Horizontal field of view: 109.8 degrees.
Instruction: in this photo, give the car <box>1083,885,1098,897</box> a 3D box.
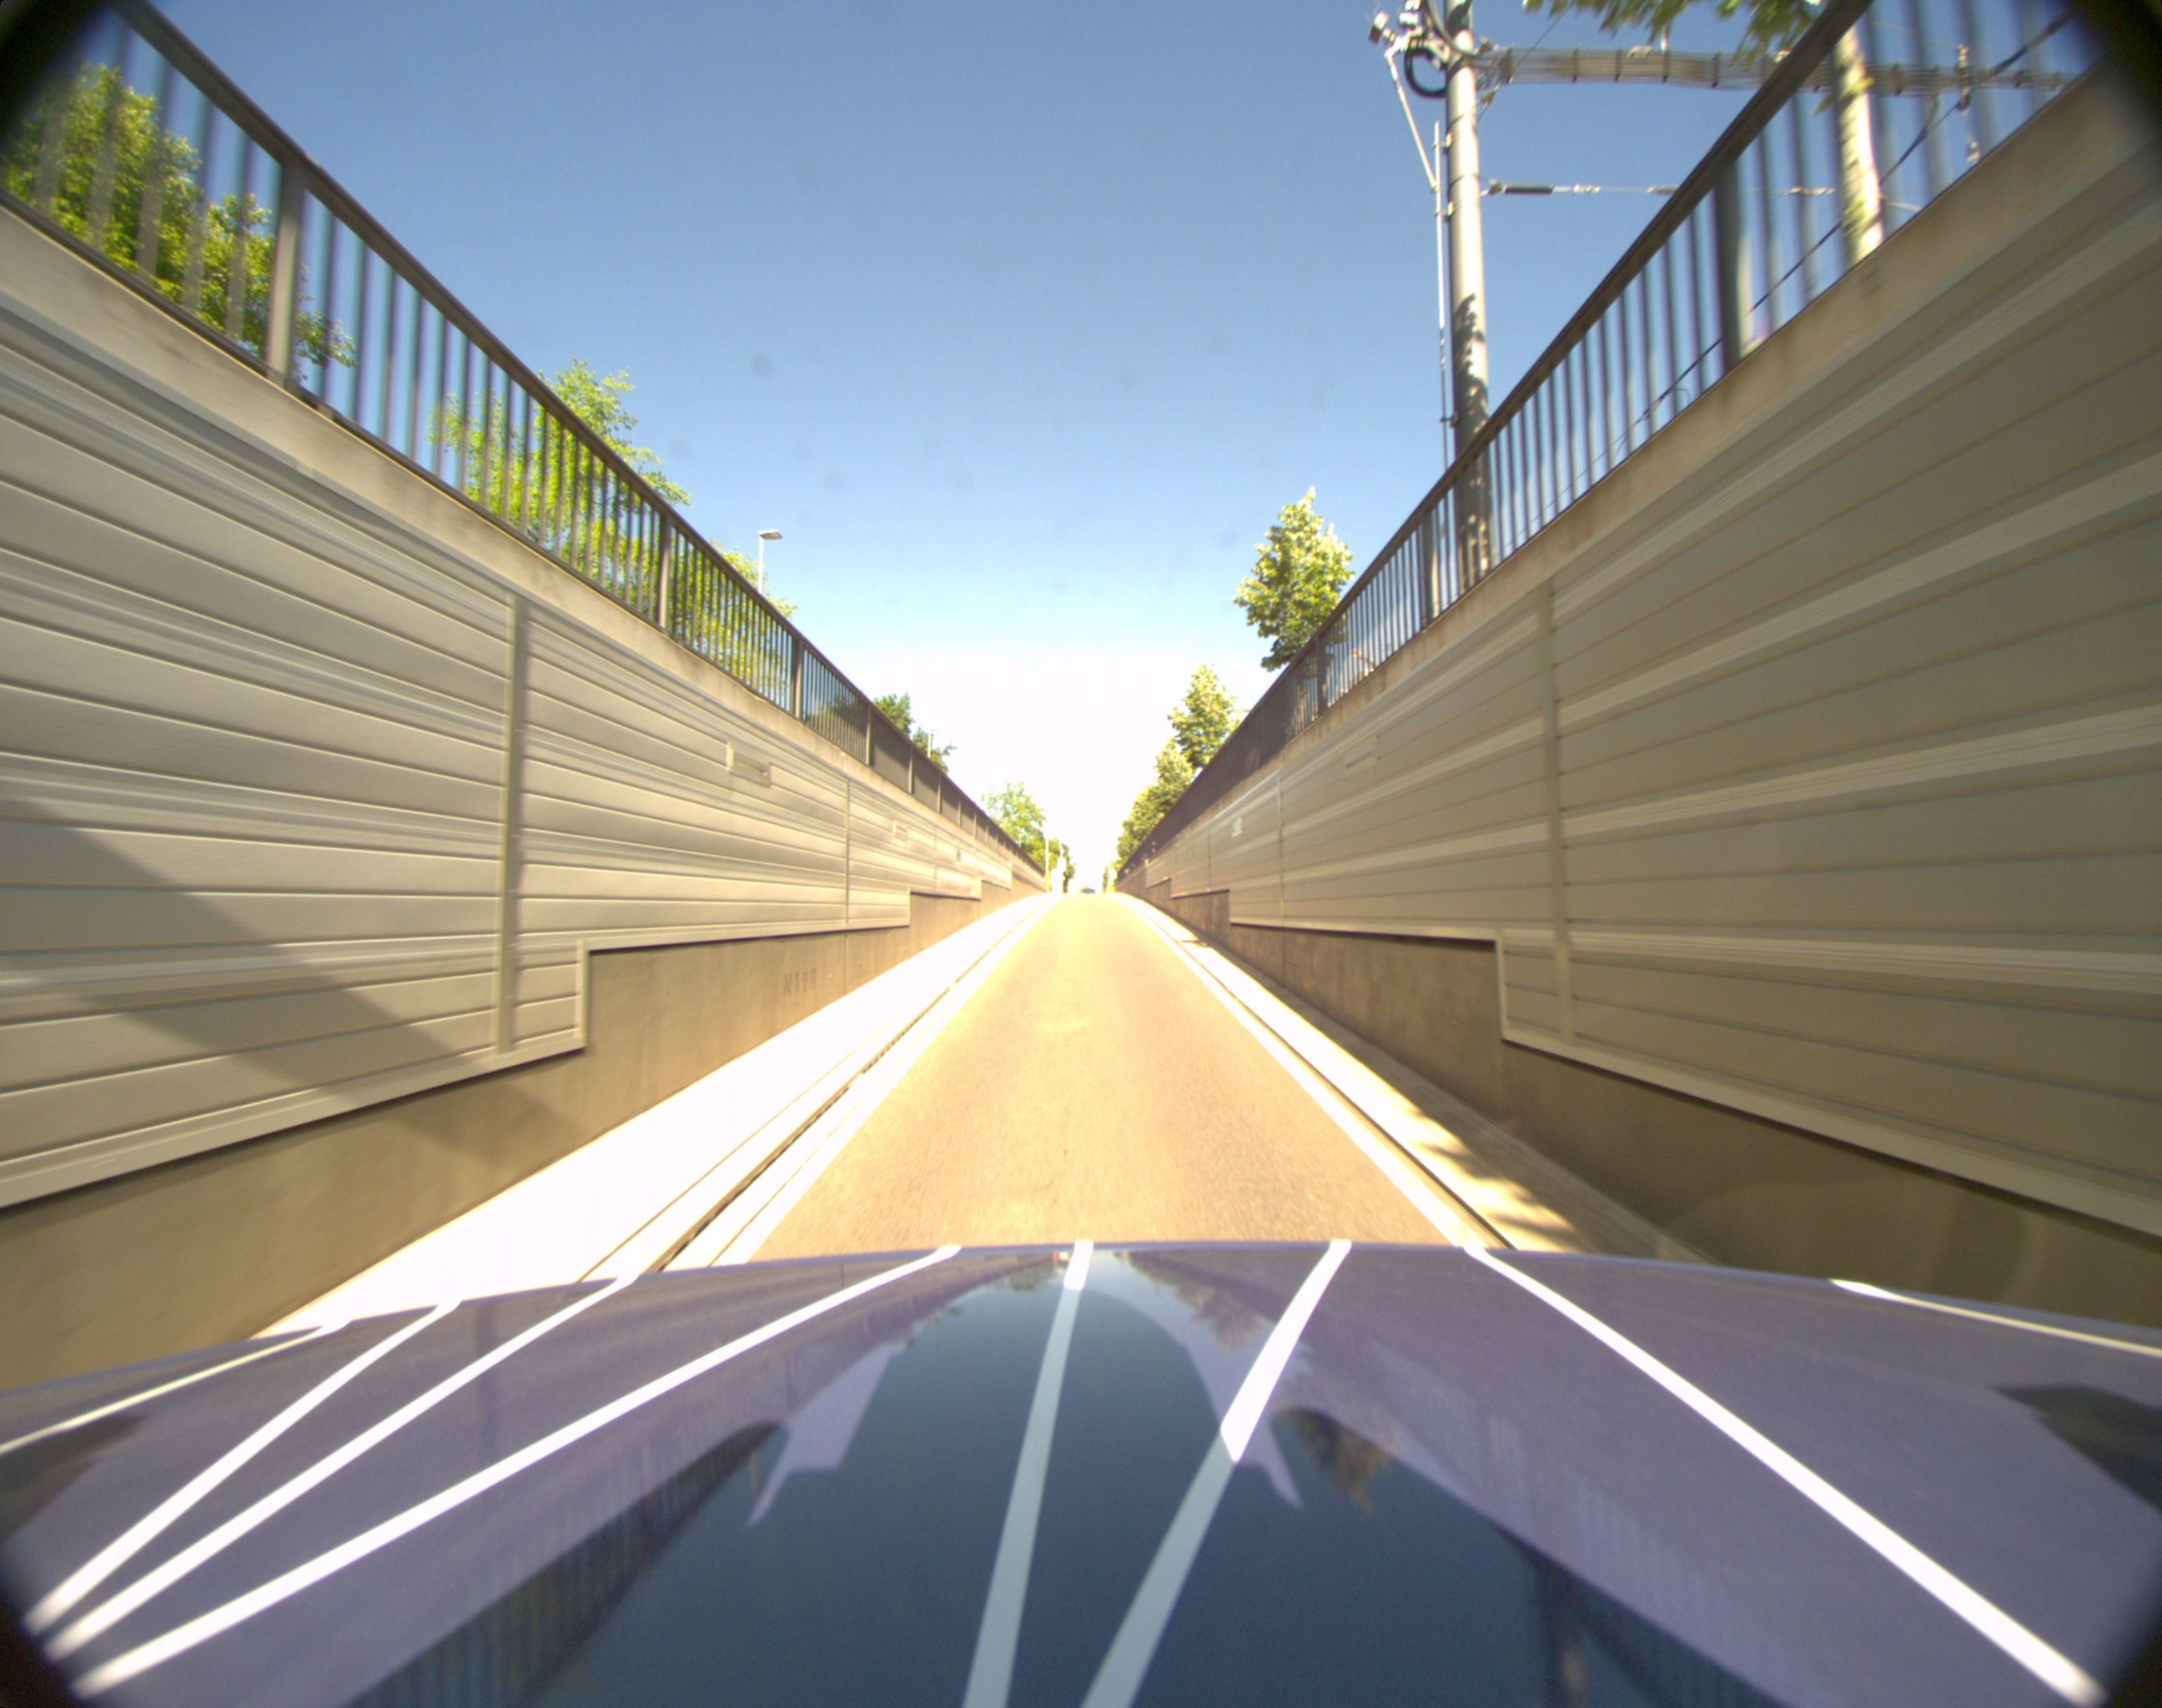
[{"bbox_3d":[1.215,4.588,94.499,1.829,1.327,4.003,-1,-4,1],"label":"car"}]
